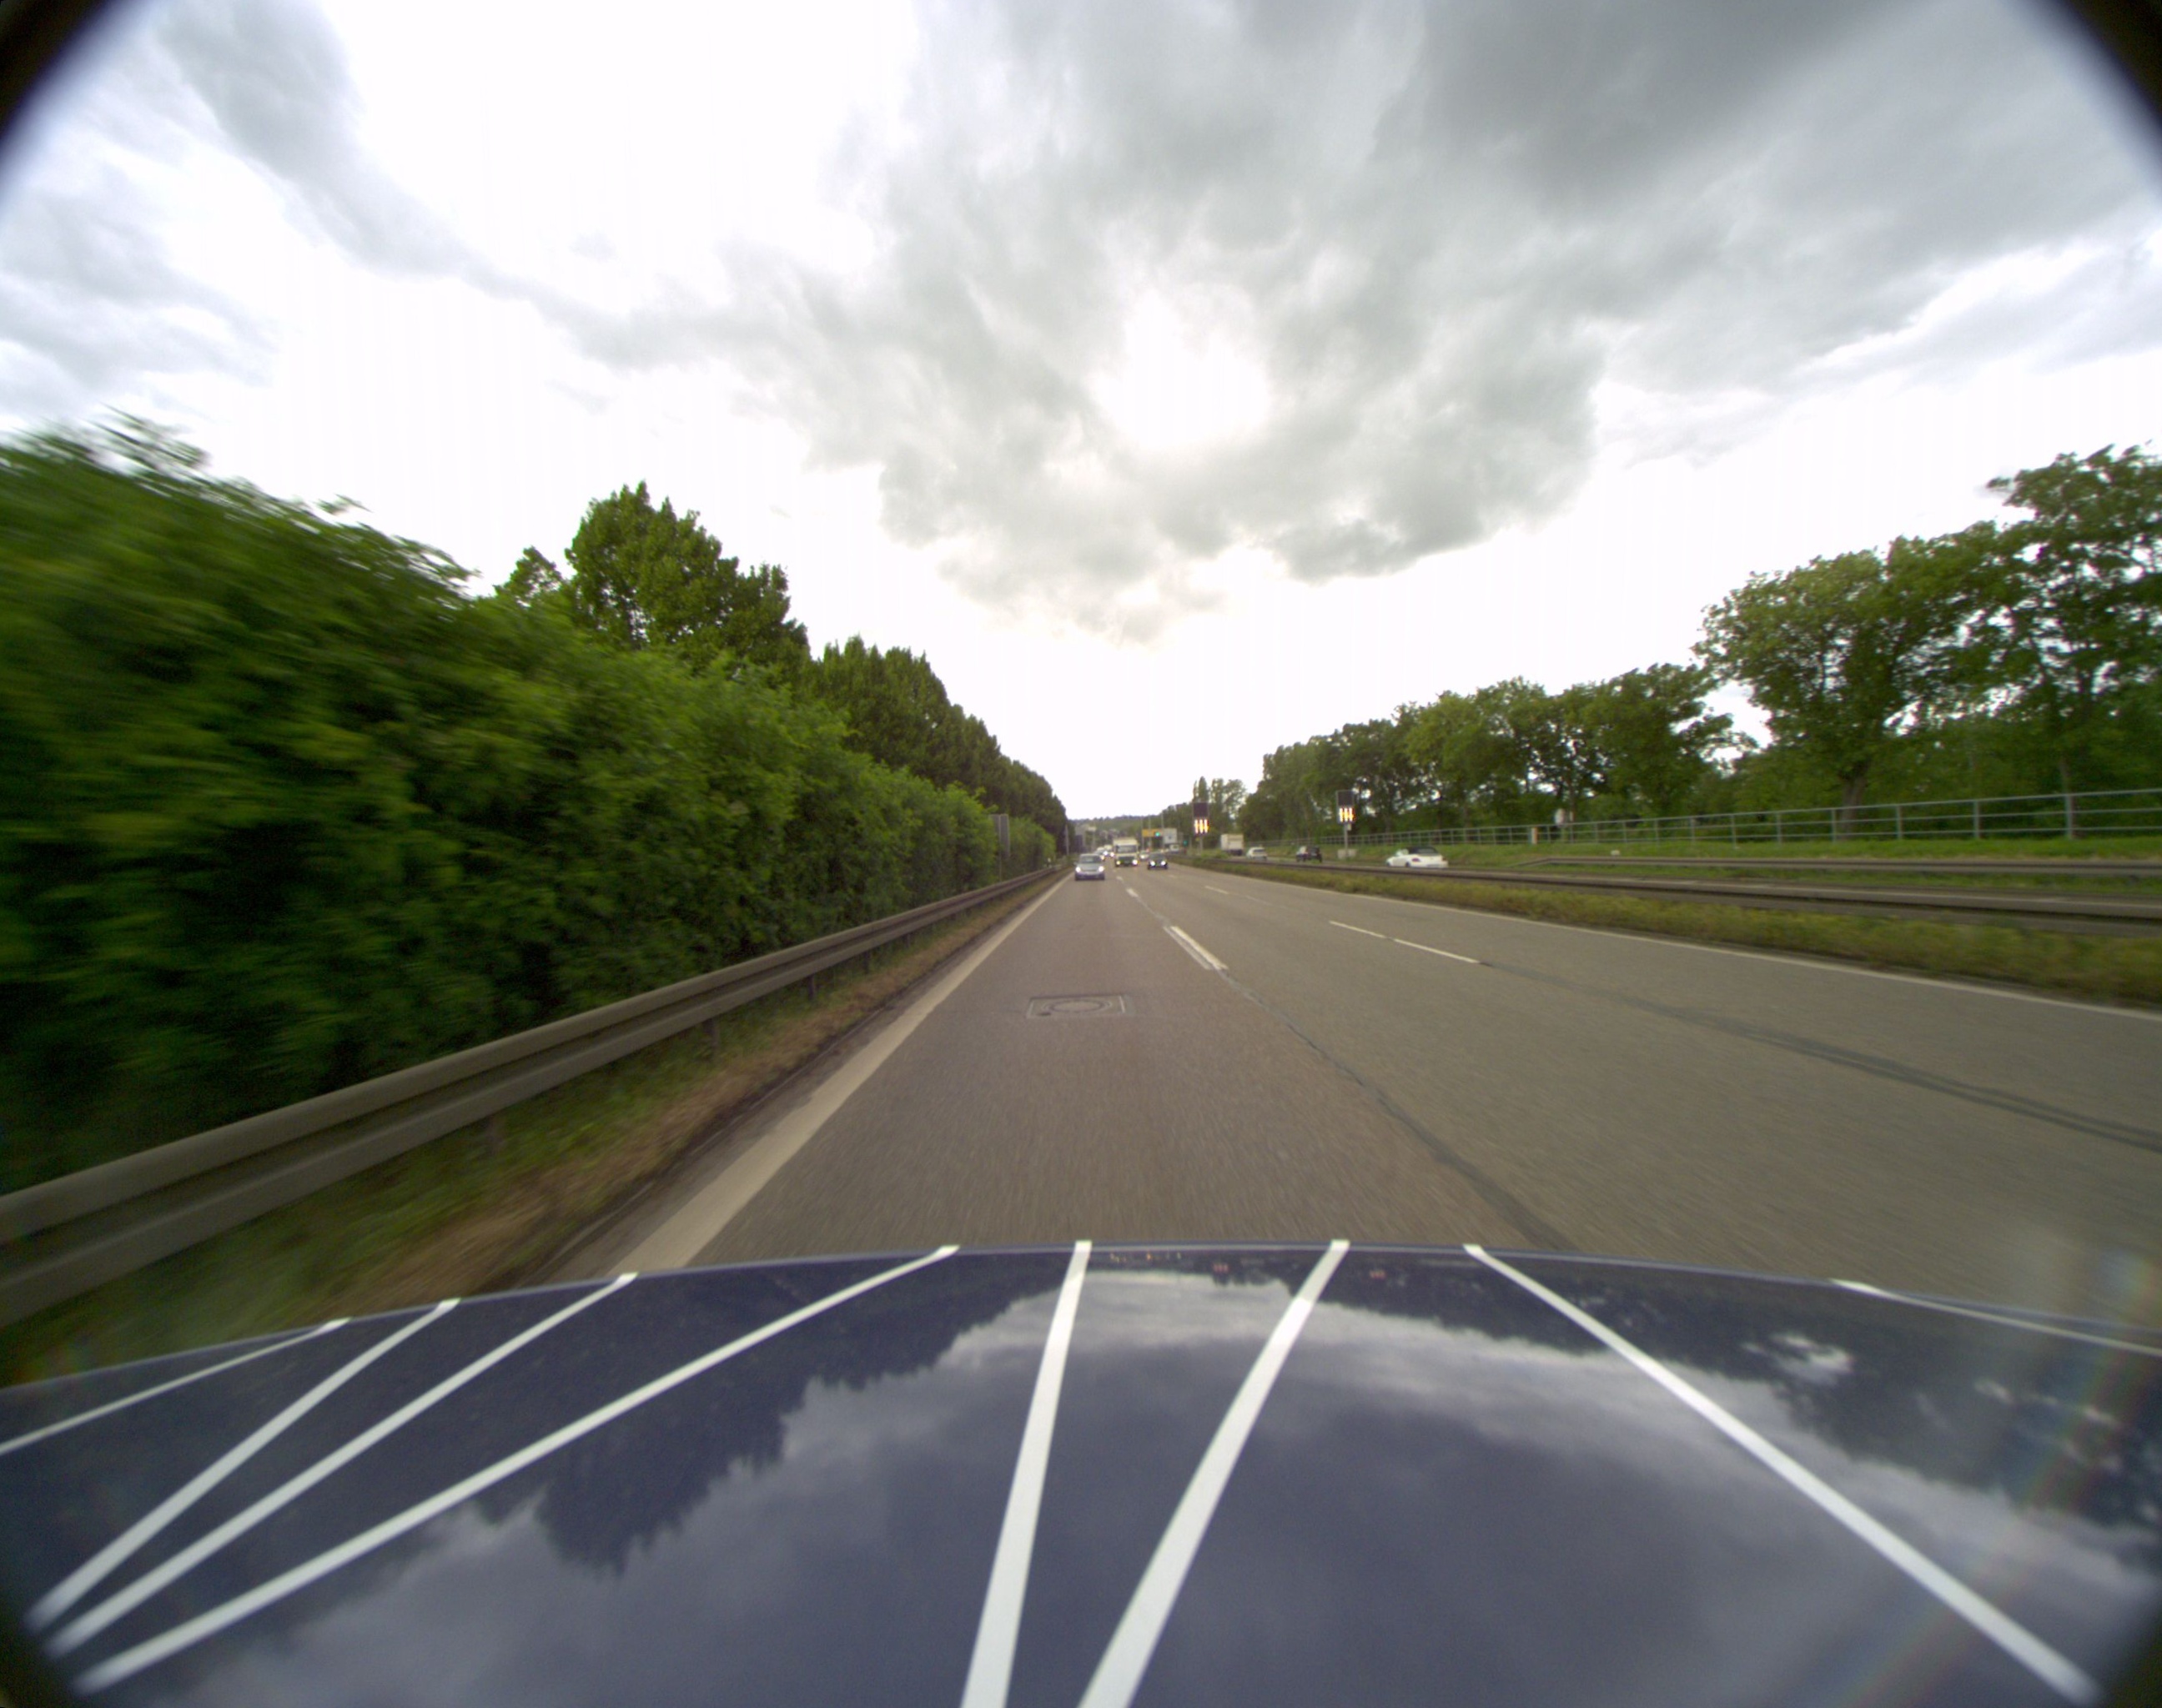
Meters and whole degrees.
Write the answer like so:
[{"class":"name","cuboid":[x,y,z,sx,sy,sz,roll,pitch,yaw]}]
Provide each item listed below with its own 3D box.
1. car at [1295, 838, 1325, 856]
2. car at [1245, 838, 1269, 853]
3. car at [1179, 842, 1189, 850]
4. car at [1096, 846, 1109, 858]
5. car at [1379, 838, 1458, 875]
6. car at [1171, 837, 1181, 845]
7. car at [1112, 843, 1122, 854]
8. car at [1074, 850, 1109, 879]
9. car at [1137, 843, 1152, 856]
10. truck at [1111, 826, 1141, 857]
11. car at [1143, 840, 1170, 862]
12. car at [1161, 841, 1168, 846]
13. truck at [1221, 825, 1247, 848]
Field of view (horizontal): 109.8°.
[{"class":"car","cuboid":[22.102,-0.663,73.417,1.730,1.595,4.042,-1,0,2]},{"class":"car","cuboid":[19.547,-0.955,84.532,1.701,1.595,4.538,-1,0,2]},{"class":"car","cuboid":[24.302,-1.831,178.995,1.883,1.714,4.147,-4,0,4]},{"class":"car","cuboid":[3.372,-0.355,120.702,1.883,1.714,4.146,-4,0,1]},{"class":"car","cuboid":[16.723,0.092,37.949,1.871,1.665,4.718,-2,0,1]},{"class":"car","cuboid":[25.131,-3.355,201.334,2.231,1.936,5.475,-3,1,4]},{"class":"car","cuboid":[7.903,-1.205,167.814,1.949,2.176,4.000,-4,0,1]},{"class":"car","cuboid":[0.623,0.583,44.370,1.883,1.530,4.146,-4,0,1]},{"class":"car","cuboid":[9.139,-0.591,109.549,1.883,1.714,4.146,-4,0,1]},{"class":"truck","cuboid":[4.970,-1.285,85.747,2.657,3.121,12.509,-4,0,1]},{"class":"car","cuboid":[6.528,-0.221,65.966,1.883,1.714,4.146,-4,0,1]},{"class":"car","cuboid":[25.341,-3.135,229.944,1.663,1.390,3.989,-1,0,2]},{"class":"truck","cuboid":[25.904,-2.968,128.869,2.895,3.558,9.588,-3,1,4]}]
